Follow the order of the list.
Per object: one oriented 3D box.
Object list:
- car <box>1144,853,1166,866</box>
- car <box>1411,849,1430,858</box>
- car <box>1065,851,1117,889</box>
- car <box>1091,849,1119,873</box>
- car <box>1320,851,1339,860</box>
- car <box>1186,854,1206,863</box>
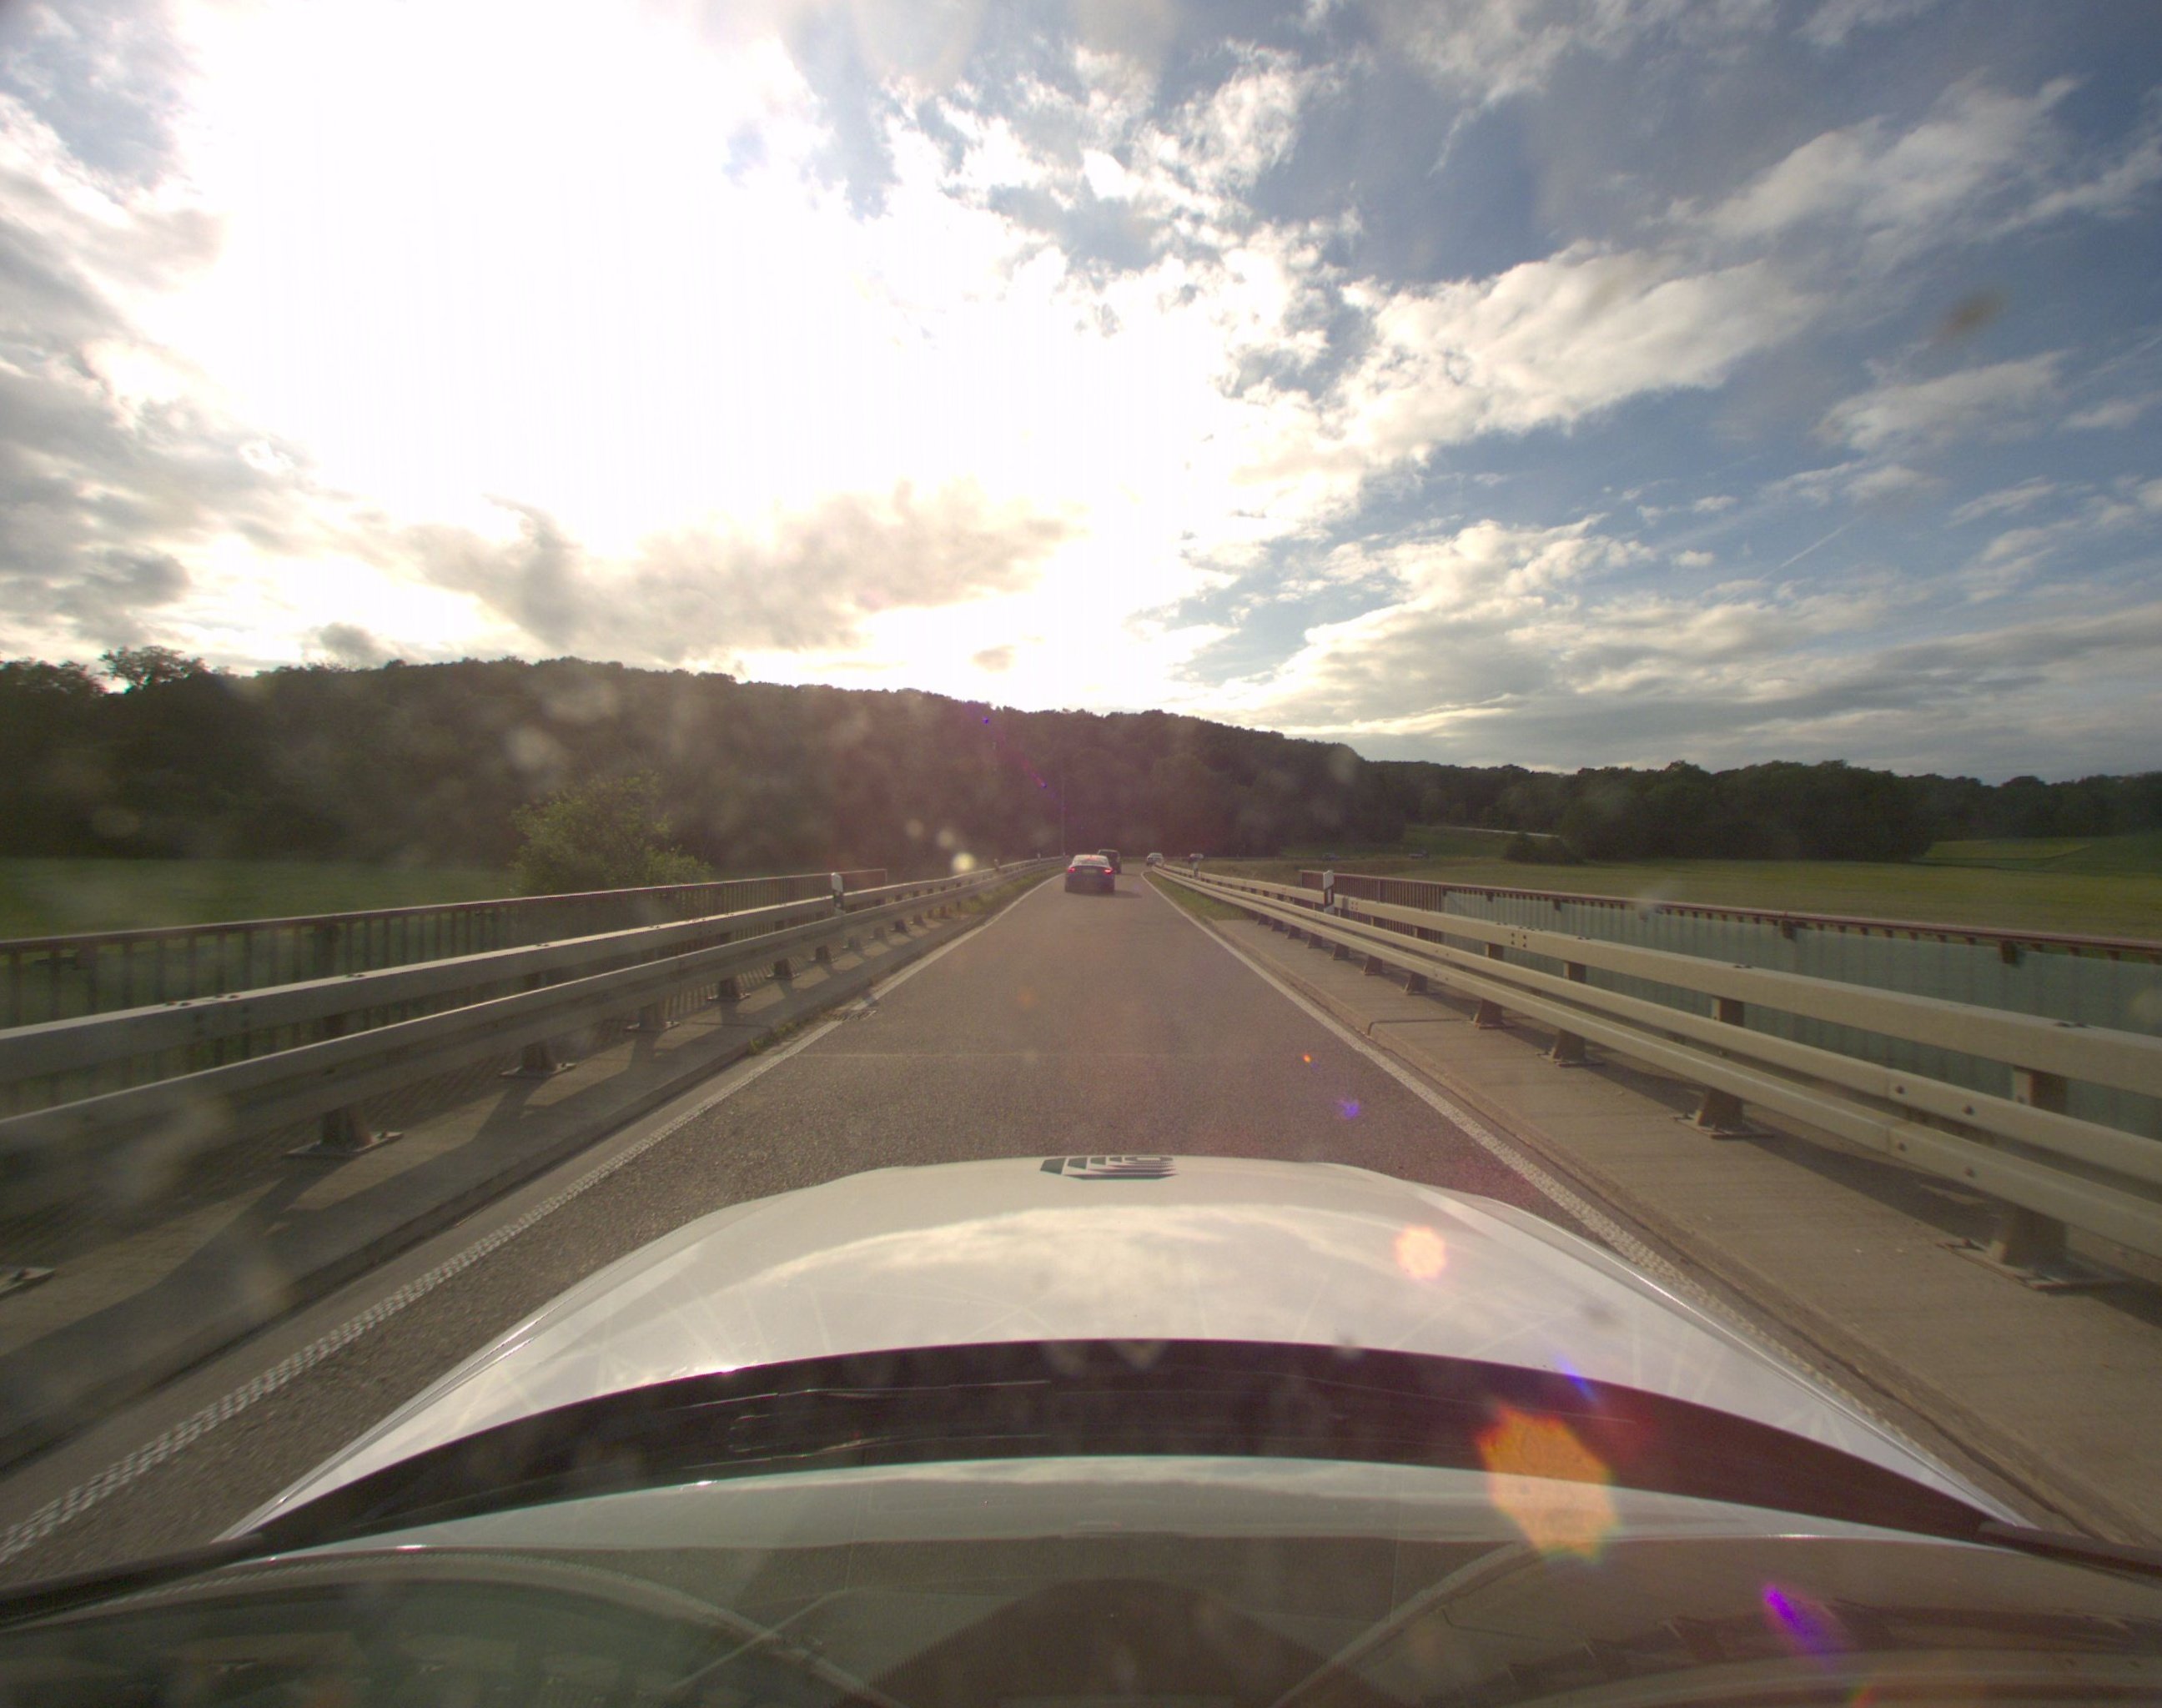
[{"bbox_3d":[8.225,0.588,90.426,1.669,1.376,4.017,0,0,16],"label":"car"},{"bbox_3d":[74.577,-0.128,178.935,4.014,1.772,1.979,2,-1,-33],"label":"car"},{"bbox_3d":[0.363,0.569,30.949,1.812,1.339,4.349,1,0,0],"label":"car"},{"bbox_3d":[1.689,0.492,56.828,1.854,1.569,4.003,1,0,2],"label":"car"},{"bbox_3d":[47.988,0.299,157.174,1.975,1.679,4.203,2,1,42],"label":"car"},{"bbox_3d":[15.852,0.565,112.059,1.457,1.227,3.320,0,0,31],"label":"car"}]
